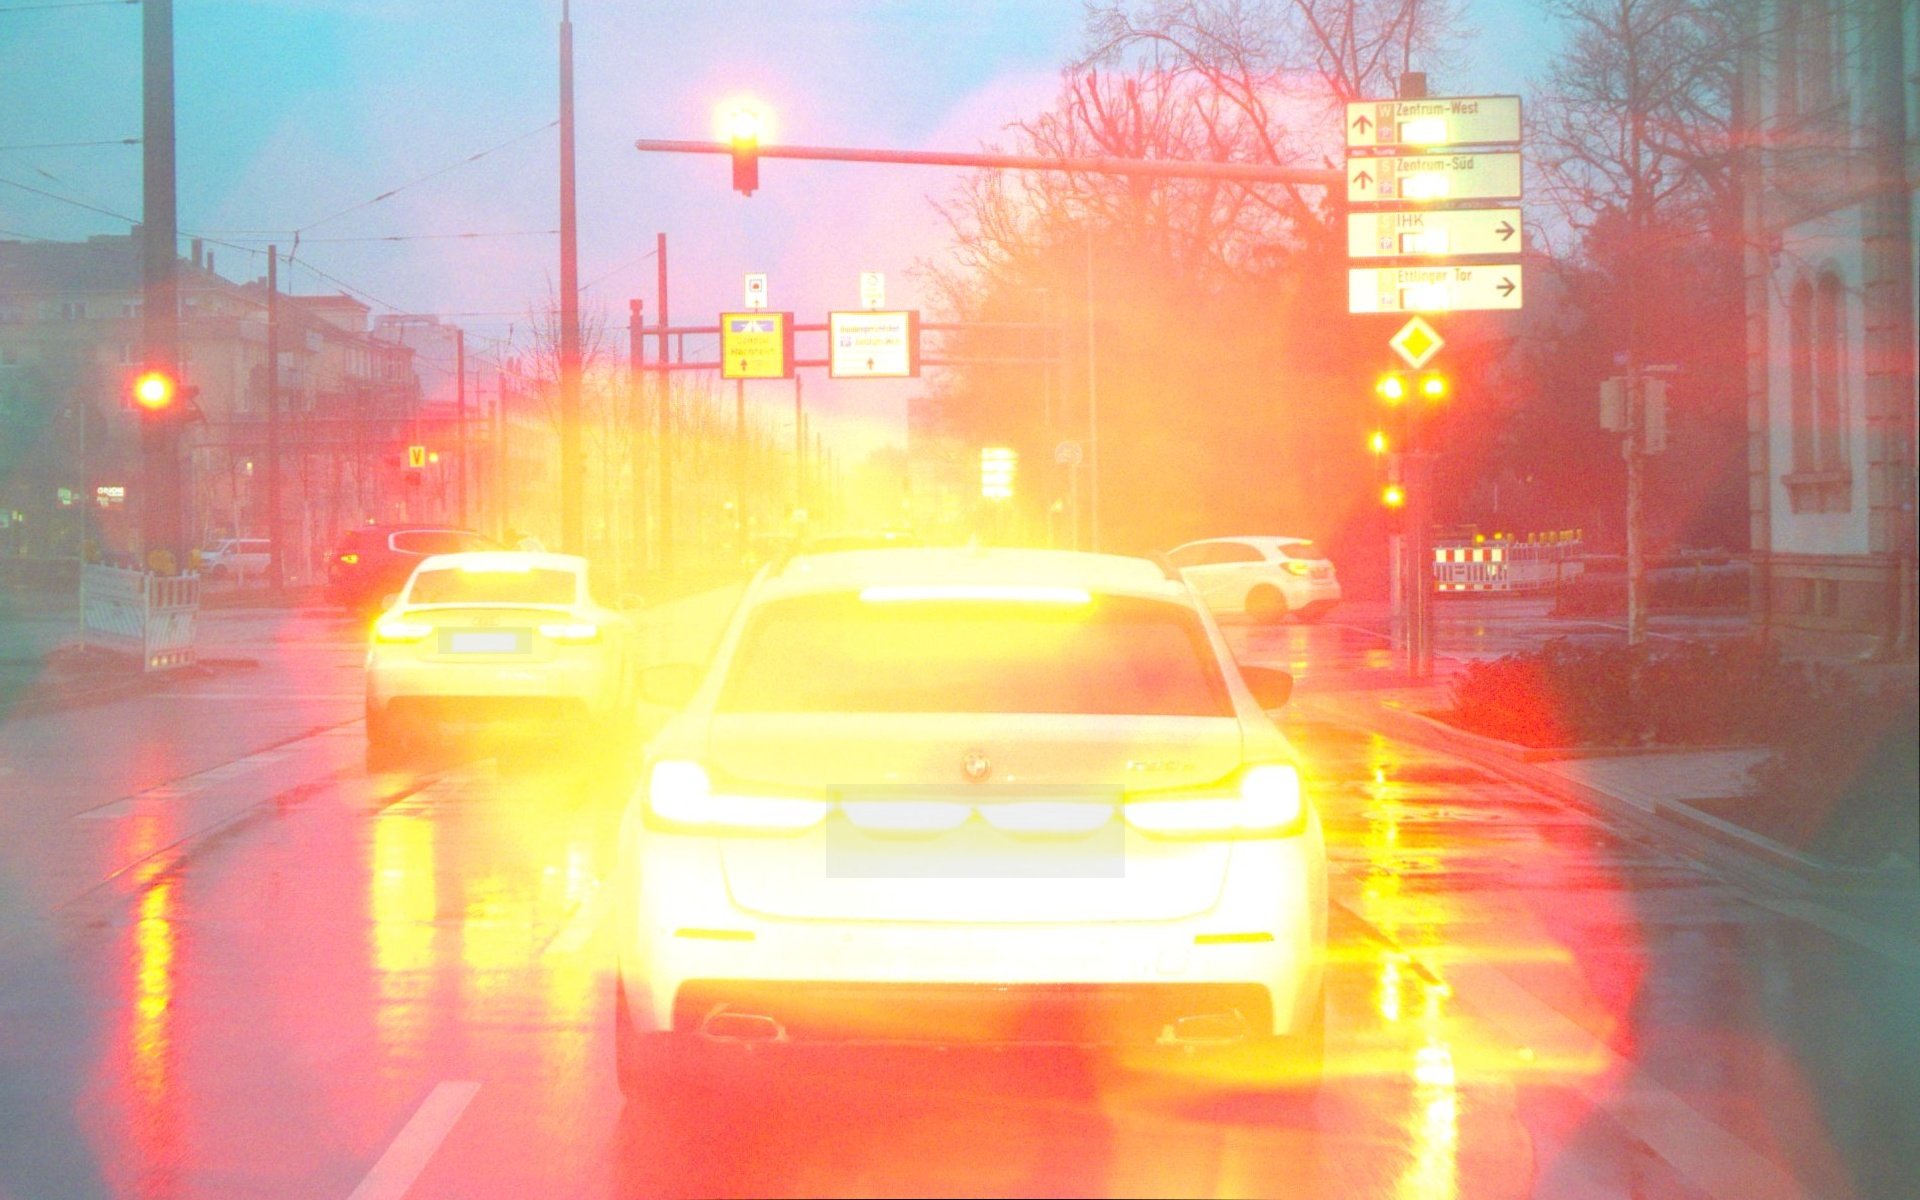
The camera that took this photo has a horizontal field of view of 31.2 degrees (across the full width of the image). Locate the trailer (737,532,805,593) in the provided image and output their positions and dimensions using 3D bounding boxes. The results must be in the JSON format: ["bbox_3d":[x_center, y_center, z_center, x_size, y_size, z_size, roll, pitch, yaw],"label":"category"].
[{"bbox_3d":[-5.244,-1.062,95.406,1.834,1.637,4.001,0,1,-3],"label":"trailer"}]

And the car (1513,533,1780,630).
[{"bbox_3d":[11.315,-0.328,56.678,3.992,1.555,1.848,0,1,26],"label":"car"}]

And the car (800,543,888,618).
[{"bbox_3d":[-2.593,-0.469,77.627,1.901,1.636,4.000,0,1,-1],"label":"car"}]

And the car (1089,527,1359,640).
[{"bbox_3d":[4.311,-0.289,56.204,3.993,1.791,1.848,0,1,27],"label":"car"}]

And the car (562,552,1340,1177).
[{"bbox_3d":[-0.073,0.594,10.669,1.852,1.460,4.947,0,1,-1],"label":"car"}]

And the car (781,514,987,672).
[{"bbox_3d":[-0.714,-0.105,34.990,1.841,1.514,4.000,0,1,2],"label":"car"}]

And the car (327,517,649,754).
[{"bbox_3d":[-3.442,0.209,25.765,1.901,1.636,4.000,0,1,-1],"label":"car"}]
